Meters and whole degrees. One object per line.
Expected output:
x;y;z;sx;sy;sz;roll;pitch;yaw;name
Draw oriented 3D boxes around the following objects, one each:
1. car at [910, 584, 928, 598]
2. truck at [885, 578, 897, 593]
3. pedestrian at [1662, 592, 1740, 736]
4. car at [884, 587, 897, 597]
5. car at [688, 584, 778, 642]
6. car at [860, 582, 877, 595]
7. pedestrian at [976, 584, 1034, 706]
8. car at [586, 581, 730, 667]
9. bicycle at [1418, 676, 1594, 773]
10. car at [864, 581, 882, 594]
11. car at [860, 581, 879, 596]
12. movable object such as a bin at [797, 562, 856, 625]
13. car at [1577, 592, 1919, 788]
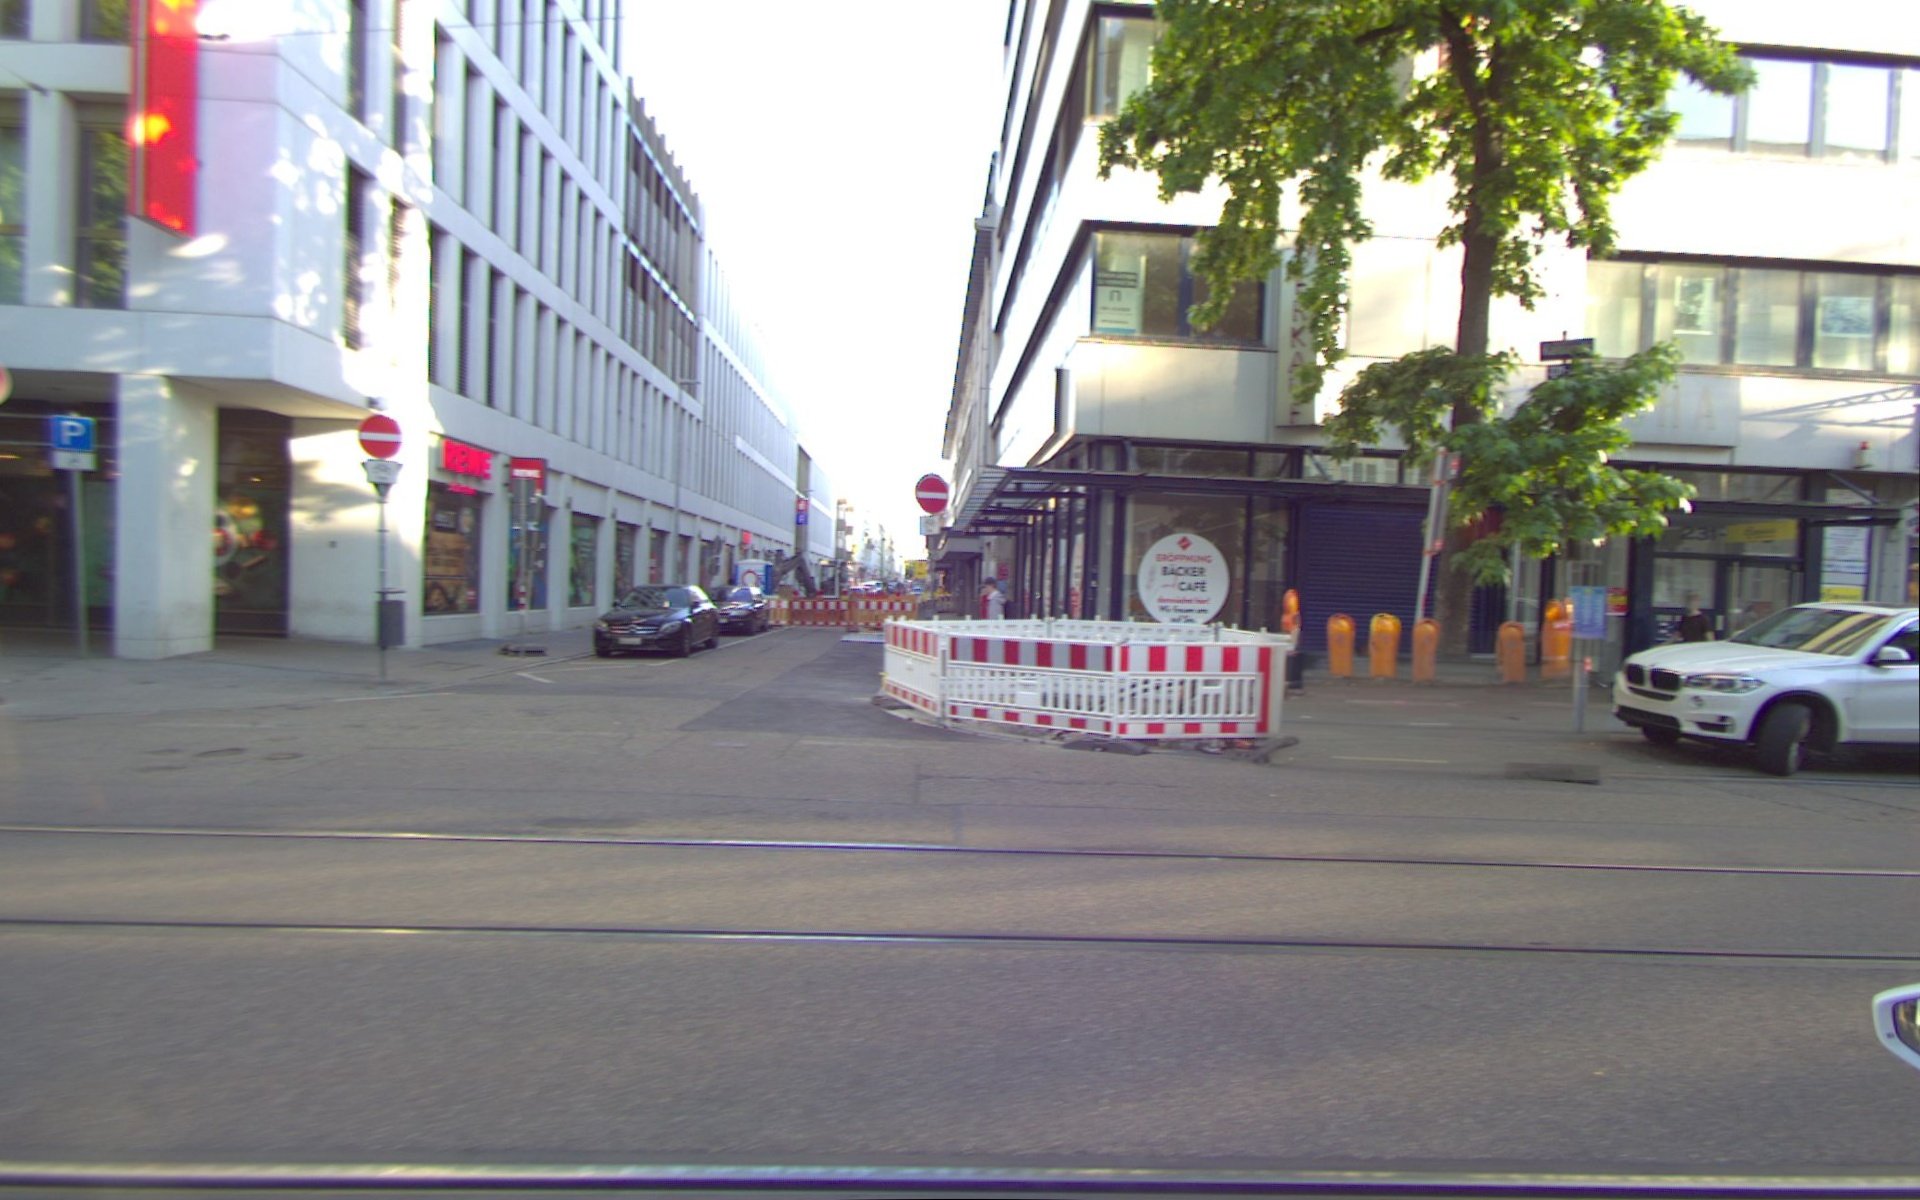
-4.640;-0.982;112.991;1.866;1.478;3.997;2;1;-4;car
-11.607;-2.424;168.773;1.865;2.421;5.315;2;1;-4;truck
10.799;0.909;14.655;0.581;2.040;0.616;2;1;-3;pedestrian
-10.972;-1.266;158.592;1.866;1.478;3.997;2;1;-4;car
-6.651;0.343;29.815;1.805;1.562;3.999;2;1;-1;car
-10.890;-1.382;119.822;1.866;1.478;3.997;2;1;-4;car
0.632;0.628;14.243;0.712;1.668;0.611;2;1;-3;pedestrian
-6.117;0.428;20.826;1.805;1.562;3.999;2;1;-1;car
5.722;1.298;10.581;1.504;0.848;0.503;3;3;4;bicycle
-9.868;-1.412;113.645;1.866;1.478;3.997;2;1;-4;car
-9.681;-1.229;107.716;1.866;1.478;3.997;2;1;-4;car
-5.931;-0.294;45.203;2.152;2.569;5.321;2;0;-3;movable object such as a bin
9.662;0.932;10.907;4.653;1.778;1.999;2;3;-3;car
